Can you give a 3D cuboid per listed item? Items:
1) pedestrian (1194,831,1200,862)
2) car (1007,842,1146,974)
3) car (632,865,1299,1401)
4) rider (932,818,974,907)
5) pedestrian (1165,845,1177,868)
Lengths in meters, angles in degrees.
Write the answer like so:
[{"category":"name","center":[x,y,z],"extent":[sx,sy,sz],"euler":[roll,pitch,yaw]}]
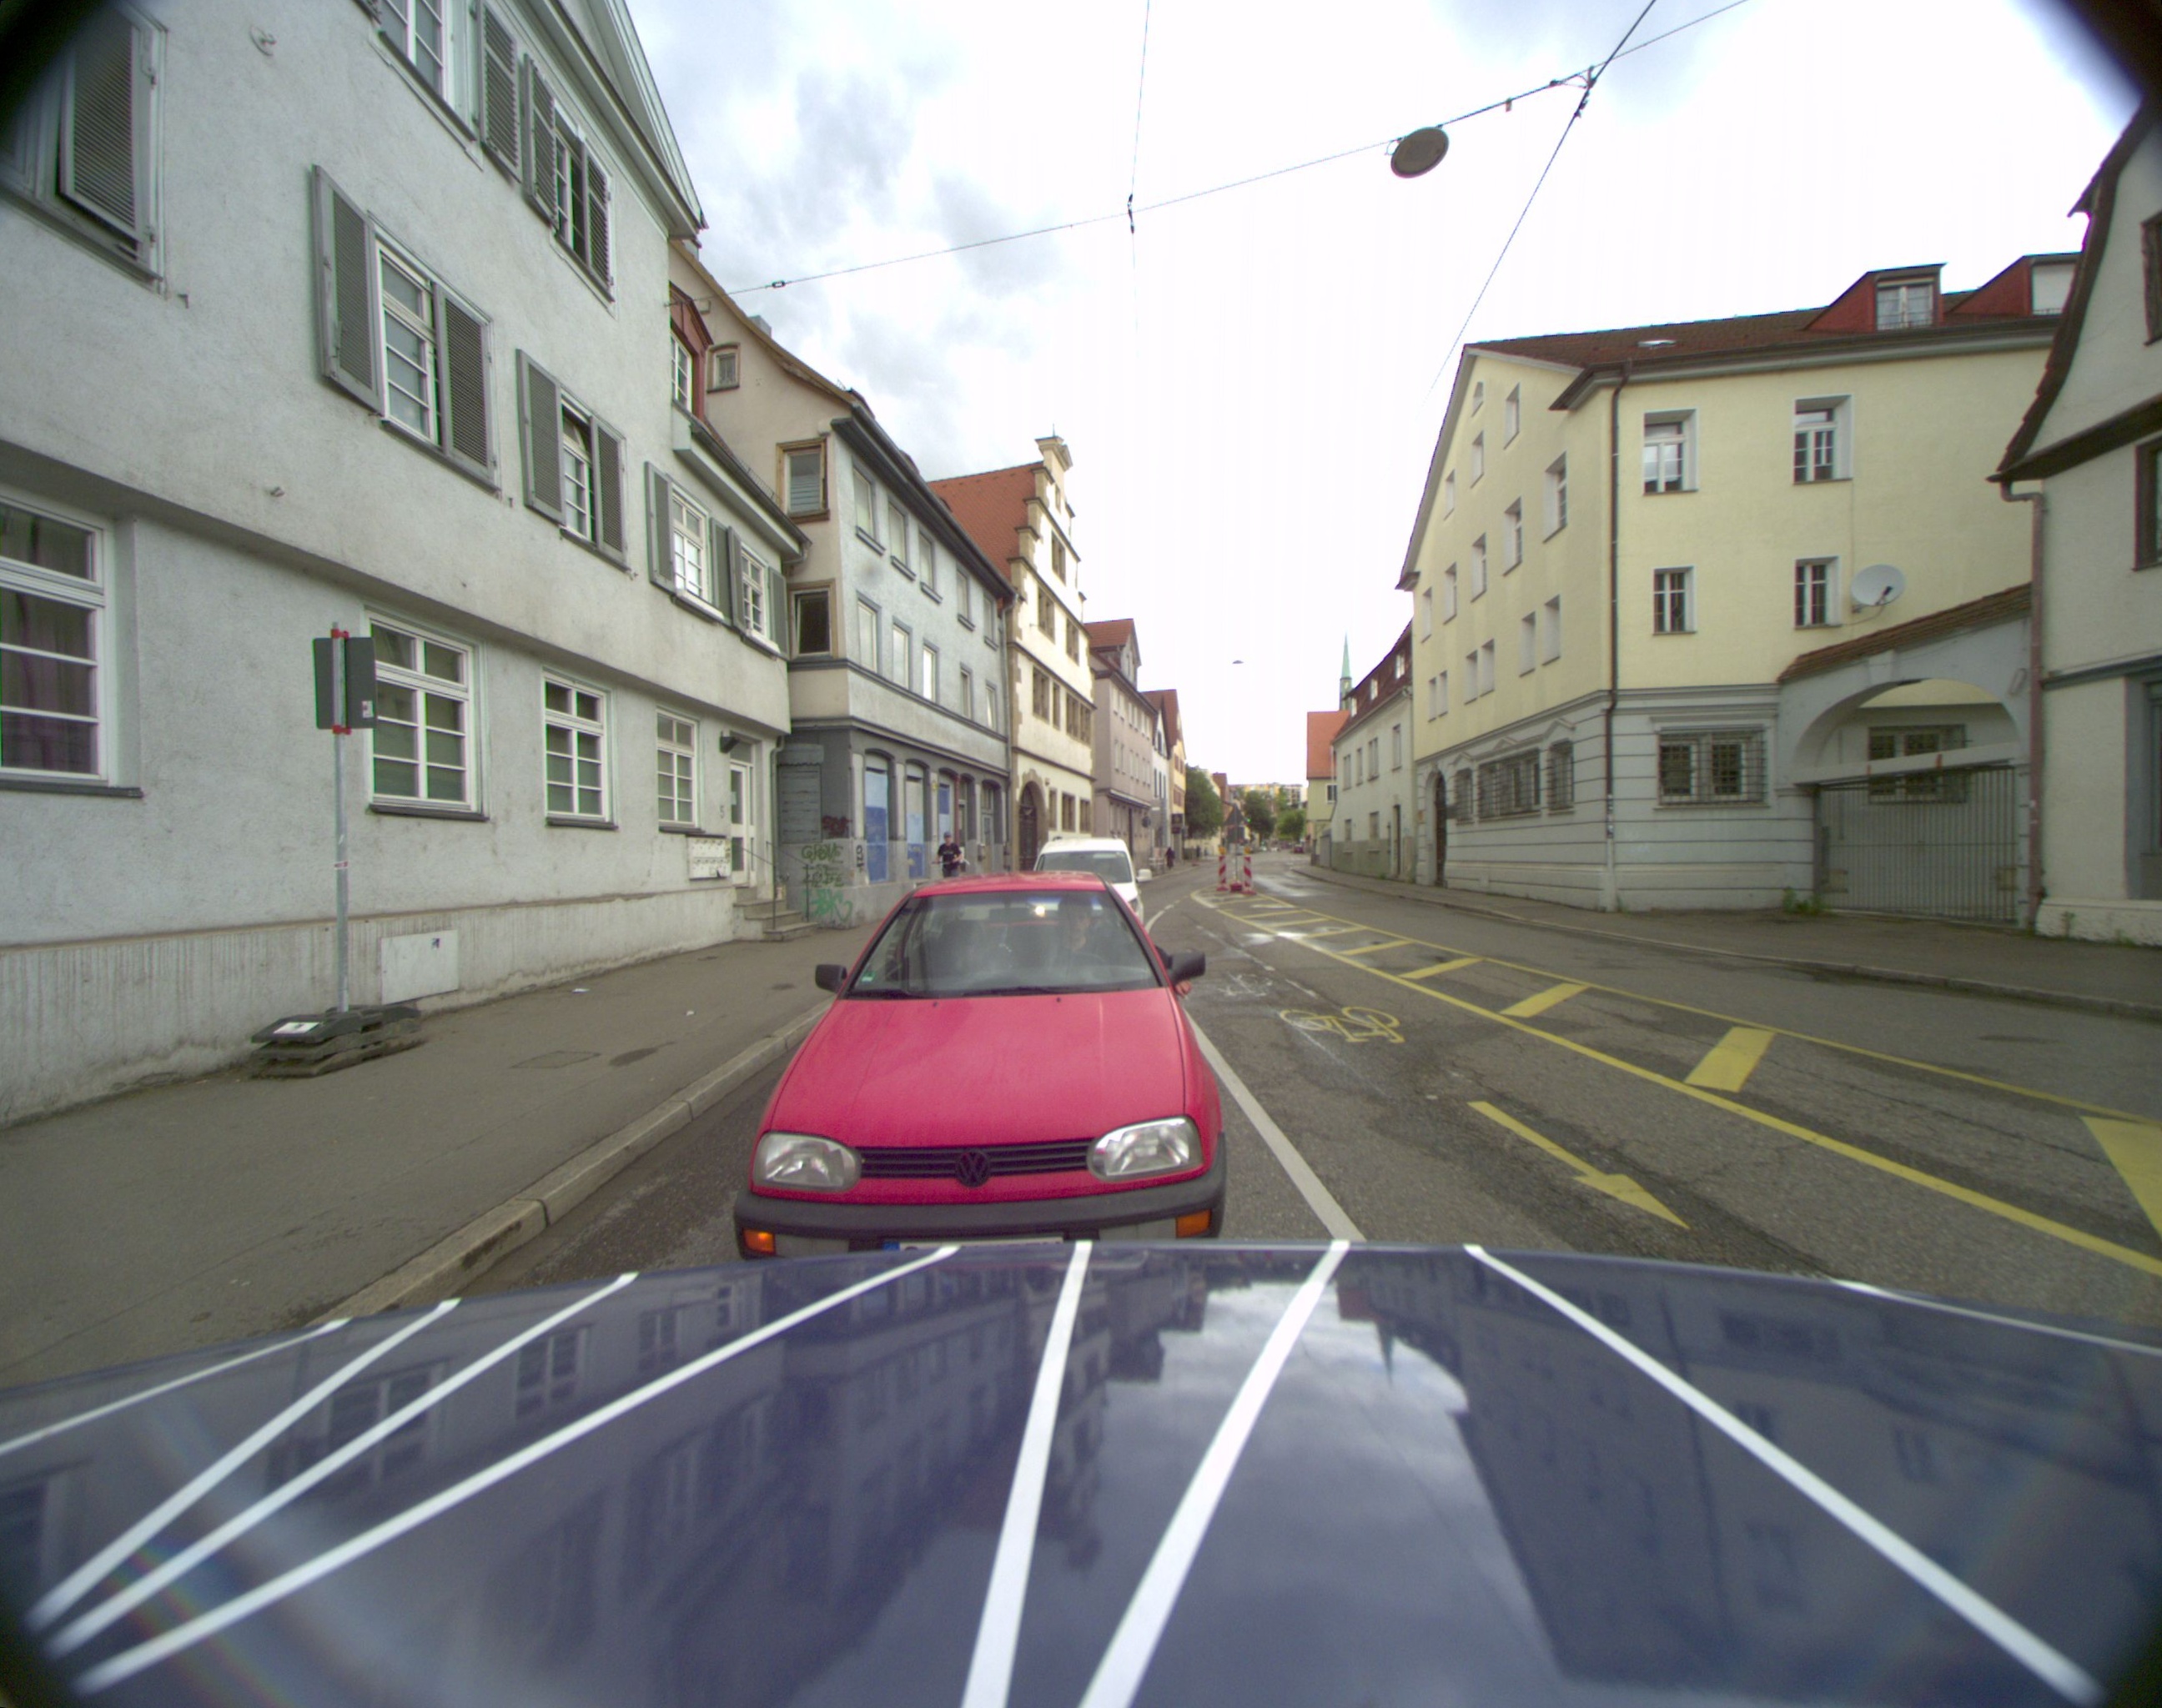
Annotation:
[{"category":"pedestrian","center":[9.720,-0.633,63.665],"extent":[0.495,2.513,0.746],"euler":[-1,1,12]},{"category":"car","center":[0.024,0.690,12.168],"extent":[1.814,1.695,4.256],"euler":[-1,1,2]},{"category":"car","center":[-0.289,0.813,4.076],"extent":[1.792,1.417,4.001],"euler":[-2,-1,1]},{"category":"rider","center":[-2.690,0.178,16.009],"extent":[0.719,1.837,0.797],"euler":[-1,1,1]},{"category":"pedestrian","center":[6.236,0.166,52.527],"extent":[0.725,1.604,0.649],"euler":[-2,0,14]}]
